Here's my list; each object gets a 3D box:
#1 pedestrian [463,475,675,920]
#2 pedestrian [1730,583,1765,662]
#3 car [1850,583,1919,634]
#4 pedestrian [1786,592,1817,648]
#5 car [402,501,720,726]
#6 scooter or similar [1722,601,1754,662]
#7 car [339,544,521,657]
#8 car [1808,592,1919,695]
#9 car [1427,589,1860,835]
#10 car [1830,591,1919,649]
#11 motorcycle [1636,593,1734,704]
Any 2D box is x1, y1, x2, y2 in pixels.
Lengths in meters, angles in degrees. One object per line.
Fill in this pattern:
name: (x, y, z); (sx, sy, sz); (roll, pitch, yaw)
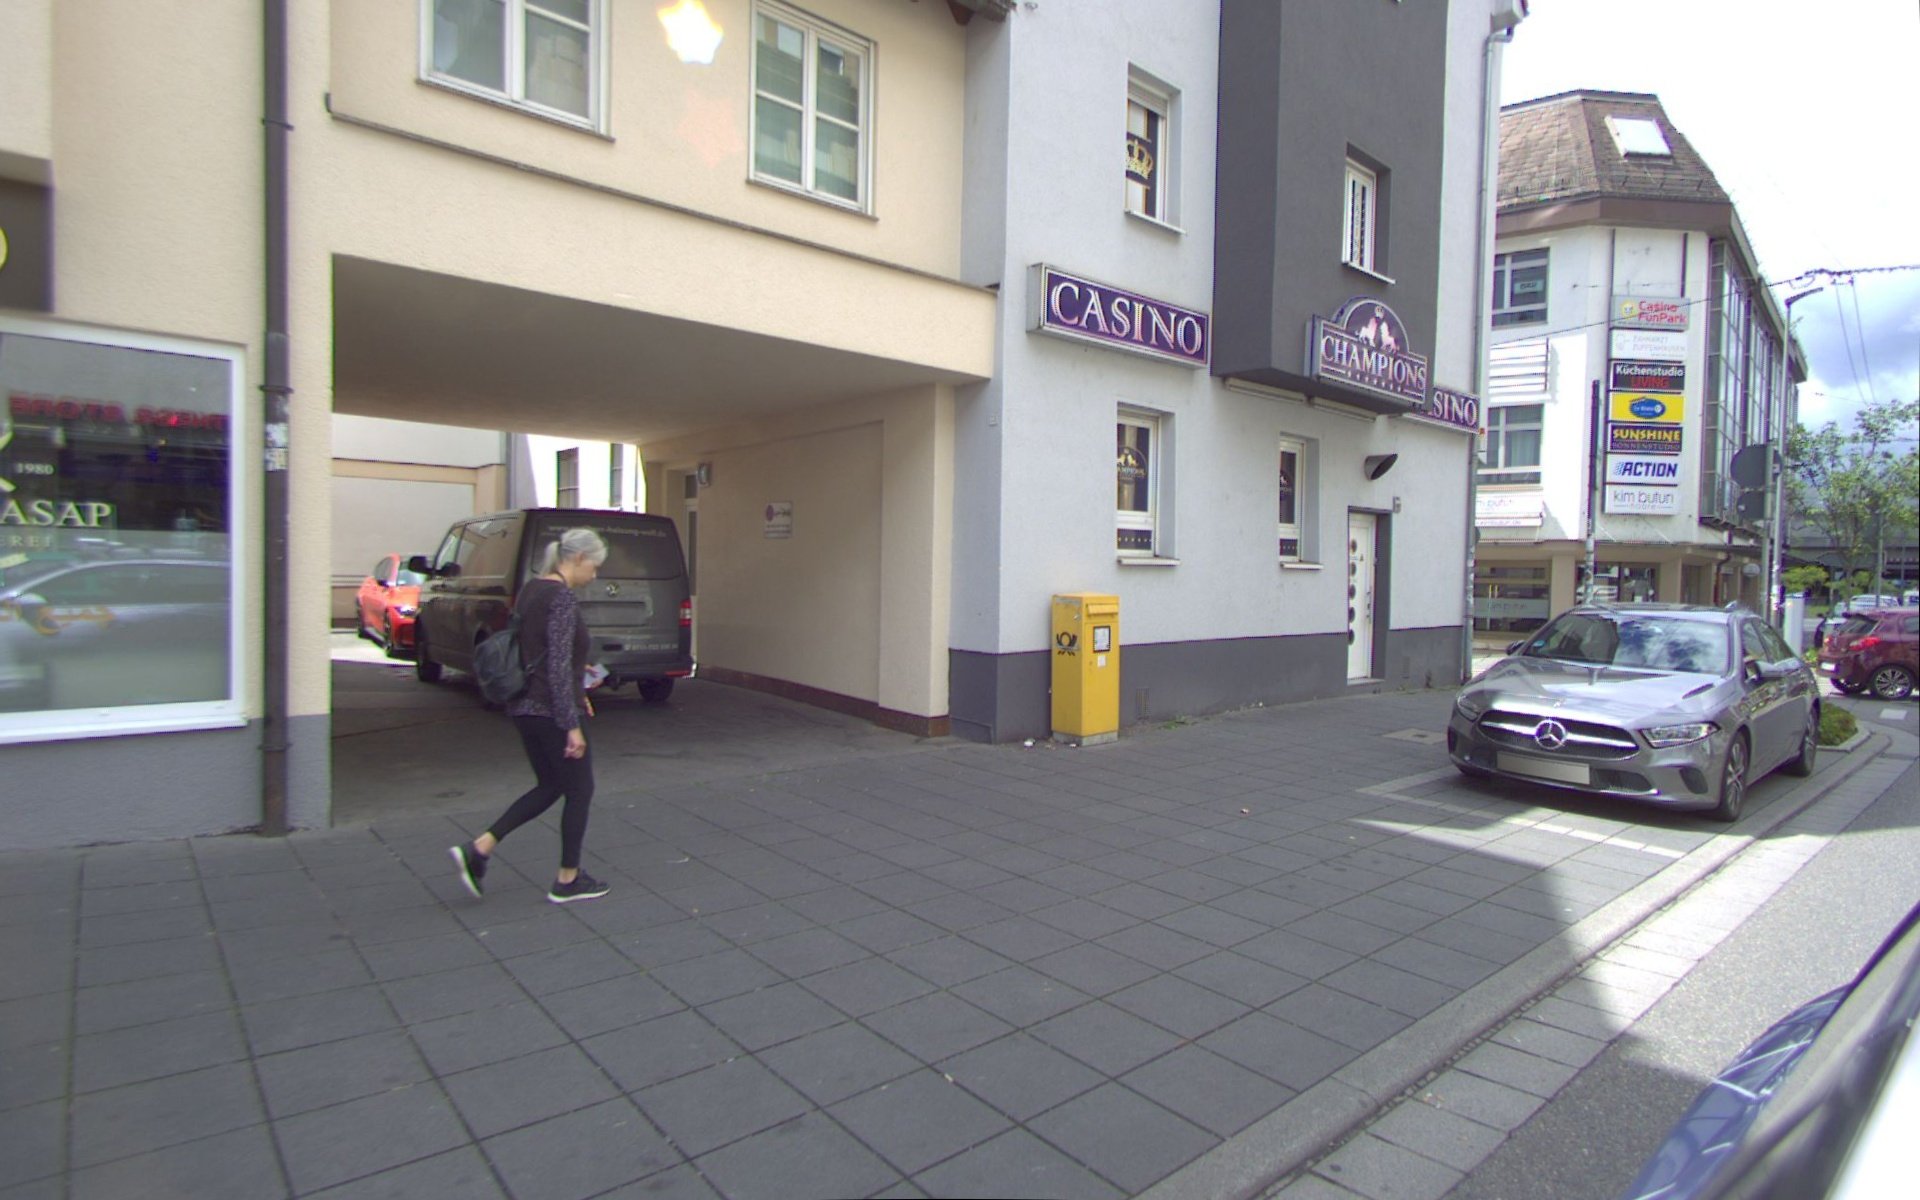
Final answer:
pedestrian: (-1.721, 0.368, 4.441); (0.645, 1.739, 0.744); (-1, 2, -42)
pedestrian: (17.509, 0.485, 22.499); (0.570, 1.724, 0.474); (0, 0, 42)
car: (34.250, 0.274, 37.161); (4.390, 1.681, 1.824); (0, 3, -42)
pedestrian: (24.496, 0.575, 29.456); (0.469, 1.582, 0.660); (-1, 0, -44)
car: (-4.535, -0.032, 11.077); (1.919, 1.955, 4.359); (0, 4, -40)
scooter or similar: (17.321, 0.690, 22.532); (0.430, 1.296, 1.230); (0, 0, 44)
car: (-8.410, -0.078, 15.907); (1.750, 1.449, 3.788); (0, 4, -40)
car: (15.843, 0.657, 15.767); (3.720, 1.549, 1.524); (0, 1, 26)
car: (5.618, 0.659, 8.110); (4.241, 1.438, 1.711); (-1, 1, -39)
car: (25.730, 0.500, 28.334); (4.477, 1.472, 1.716); (0, 1, -44)
motorcycle: (9.321, 0.565, 12.968); (0.659, 1.275, 2.338); (0, 1, 45)
